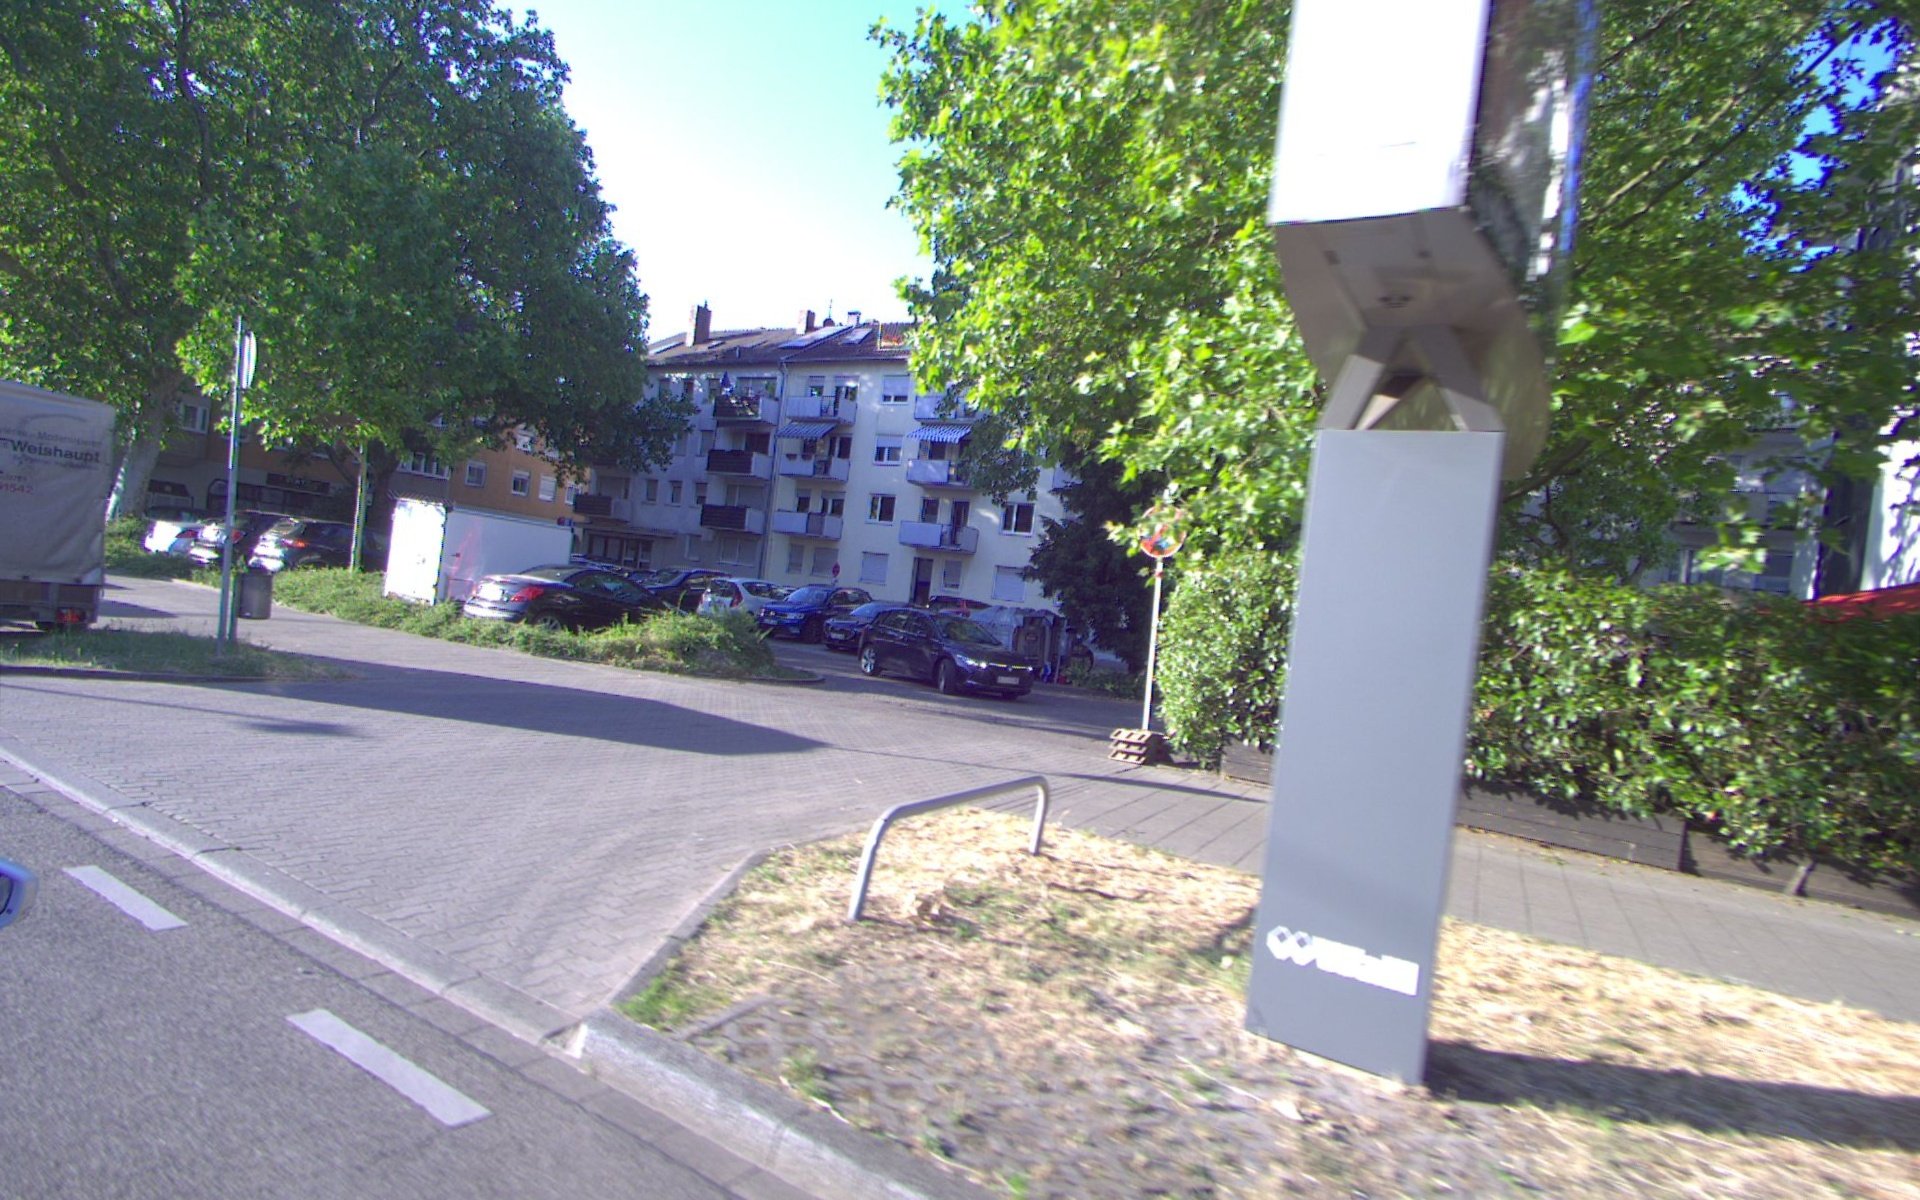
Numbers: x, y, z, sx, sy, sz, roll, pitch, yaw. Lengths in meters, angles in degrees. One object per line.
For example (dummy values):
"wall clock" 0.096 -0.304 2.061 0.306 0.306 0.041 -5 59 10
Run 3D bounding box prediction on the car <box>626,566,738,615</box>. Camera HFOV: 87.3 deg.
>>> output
"car" -11.496 -0.350 41.849 1.841 1.663 4.279 6 1 32

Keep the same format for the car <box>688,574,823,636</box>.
"car" -6.225 0.191 30.967 1.799 1.575 3.896 6 1 32

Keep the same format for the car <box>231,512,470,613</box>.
"car" -12.879 -0.736 21.496 1.678 1.656 3.925 6 0 32

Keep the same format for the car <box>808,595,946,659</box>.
"car" -2.209 0.772 27.755 1.678 1.454 3.922 7 1 32

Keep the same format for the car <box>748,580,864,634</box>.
"car" -5.635 0.296 37.318 1.841 1.663 4.279 6 1 32

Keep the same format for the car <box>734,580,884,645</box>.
"car" -4.333 0.416 29.530 1.992 1.608 4.280 6 1 30

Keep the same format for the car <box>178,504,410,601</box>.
"car" -14.867 -1.003 22.670 1.678 1.657 3.925 6 0 32

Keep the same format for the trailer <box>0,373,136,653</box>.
"trailer" -10.341 -0.965 10.311 3.264 2.590 1.834 7 1 32

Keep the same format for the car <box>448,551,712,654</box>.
"car" -6.355 0.100 17.236 1.678 1.352 3.924 6 0 33

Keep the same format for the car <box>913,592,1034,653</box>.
"car" 0.512 0.749 32.332 1.841 1.663 4.279 6 1 32

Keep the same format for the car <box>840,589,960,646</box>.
"car" -1.977 0.635 34.244 1.841 1.663 4.279 6 1 32

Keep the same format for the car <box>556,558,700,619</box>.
"car" -10.902 -0.344 33.315 1.841 1.663 4.279 6 1 32

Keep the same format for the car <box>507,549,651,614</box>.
"car" -12.963 -0.594 34.462 1.841 1.662 4.282 7 -1 32

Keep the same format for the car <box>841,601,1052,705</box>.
"car" -0.376 0.971 19.492 1.782 1.454 4.194 7 -1 -39

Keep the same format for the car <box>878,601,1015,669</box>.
"car" -0.265 0.948 26.597 1.678 1.506 3.922 6 1 32

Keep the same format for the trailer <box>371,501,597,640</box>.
"trailer" -8.649 -0.483 18.465 1.848 2.095 3.067 7 0 33

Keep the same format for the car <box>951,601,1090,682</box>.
"car" 1.593 1.038 25.152 1.678 1.699 3.922 7 1 32

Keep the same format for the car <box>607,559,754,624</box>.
"car" -8.756 -0.222 31.818 1.841 1.663 4.279 6 1 32
